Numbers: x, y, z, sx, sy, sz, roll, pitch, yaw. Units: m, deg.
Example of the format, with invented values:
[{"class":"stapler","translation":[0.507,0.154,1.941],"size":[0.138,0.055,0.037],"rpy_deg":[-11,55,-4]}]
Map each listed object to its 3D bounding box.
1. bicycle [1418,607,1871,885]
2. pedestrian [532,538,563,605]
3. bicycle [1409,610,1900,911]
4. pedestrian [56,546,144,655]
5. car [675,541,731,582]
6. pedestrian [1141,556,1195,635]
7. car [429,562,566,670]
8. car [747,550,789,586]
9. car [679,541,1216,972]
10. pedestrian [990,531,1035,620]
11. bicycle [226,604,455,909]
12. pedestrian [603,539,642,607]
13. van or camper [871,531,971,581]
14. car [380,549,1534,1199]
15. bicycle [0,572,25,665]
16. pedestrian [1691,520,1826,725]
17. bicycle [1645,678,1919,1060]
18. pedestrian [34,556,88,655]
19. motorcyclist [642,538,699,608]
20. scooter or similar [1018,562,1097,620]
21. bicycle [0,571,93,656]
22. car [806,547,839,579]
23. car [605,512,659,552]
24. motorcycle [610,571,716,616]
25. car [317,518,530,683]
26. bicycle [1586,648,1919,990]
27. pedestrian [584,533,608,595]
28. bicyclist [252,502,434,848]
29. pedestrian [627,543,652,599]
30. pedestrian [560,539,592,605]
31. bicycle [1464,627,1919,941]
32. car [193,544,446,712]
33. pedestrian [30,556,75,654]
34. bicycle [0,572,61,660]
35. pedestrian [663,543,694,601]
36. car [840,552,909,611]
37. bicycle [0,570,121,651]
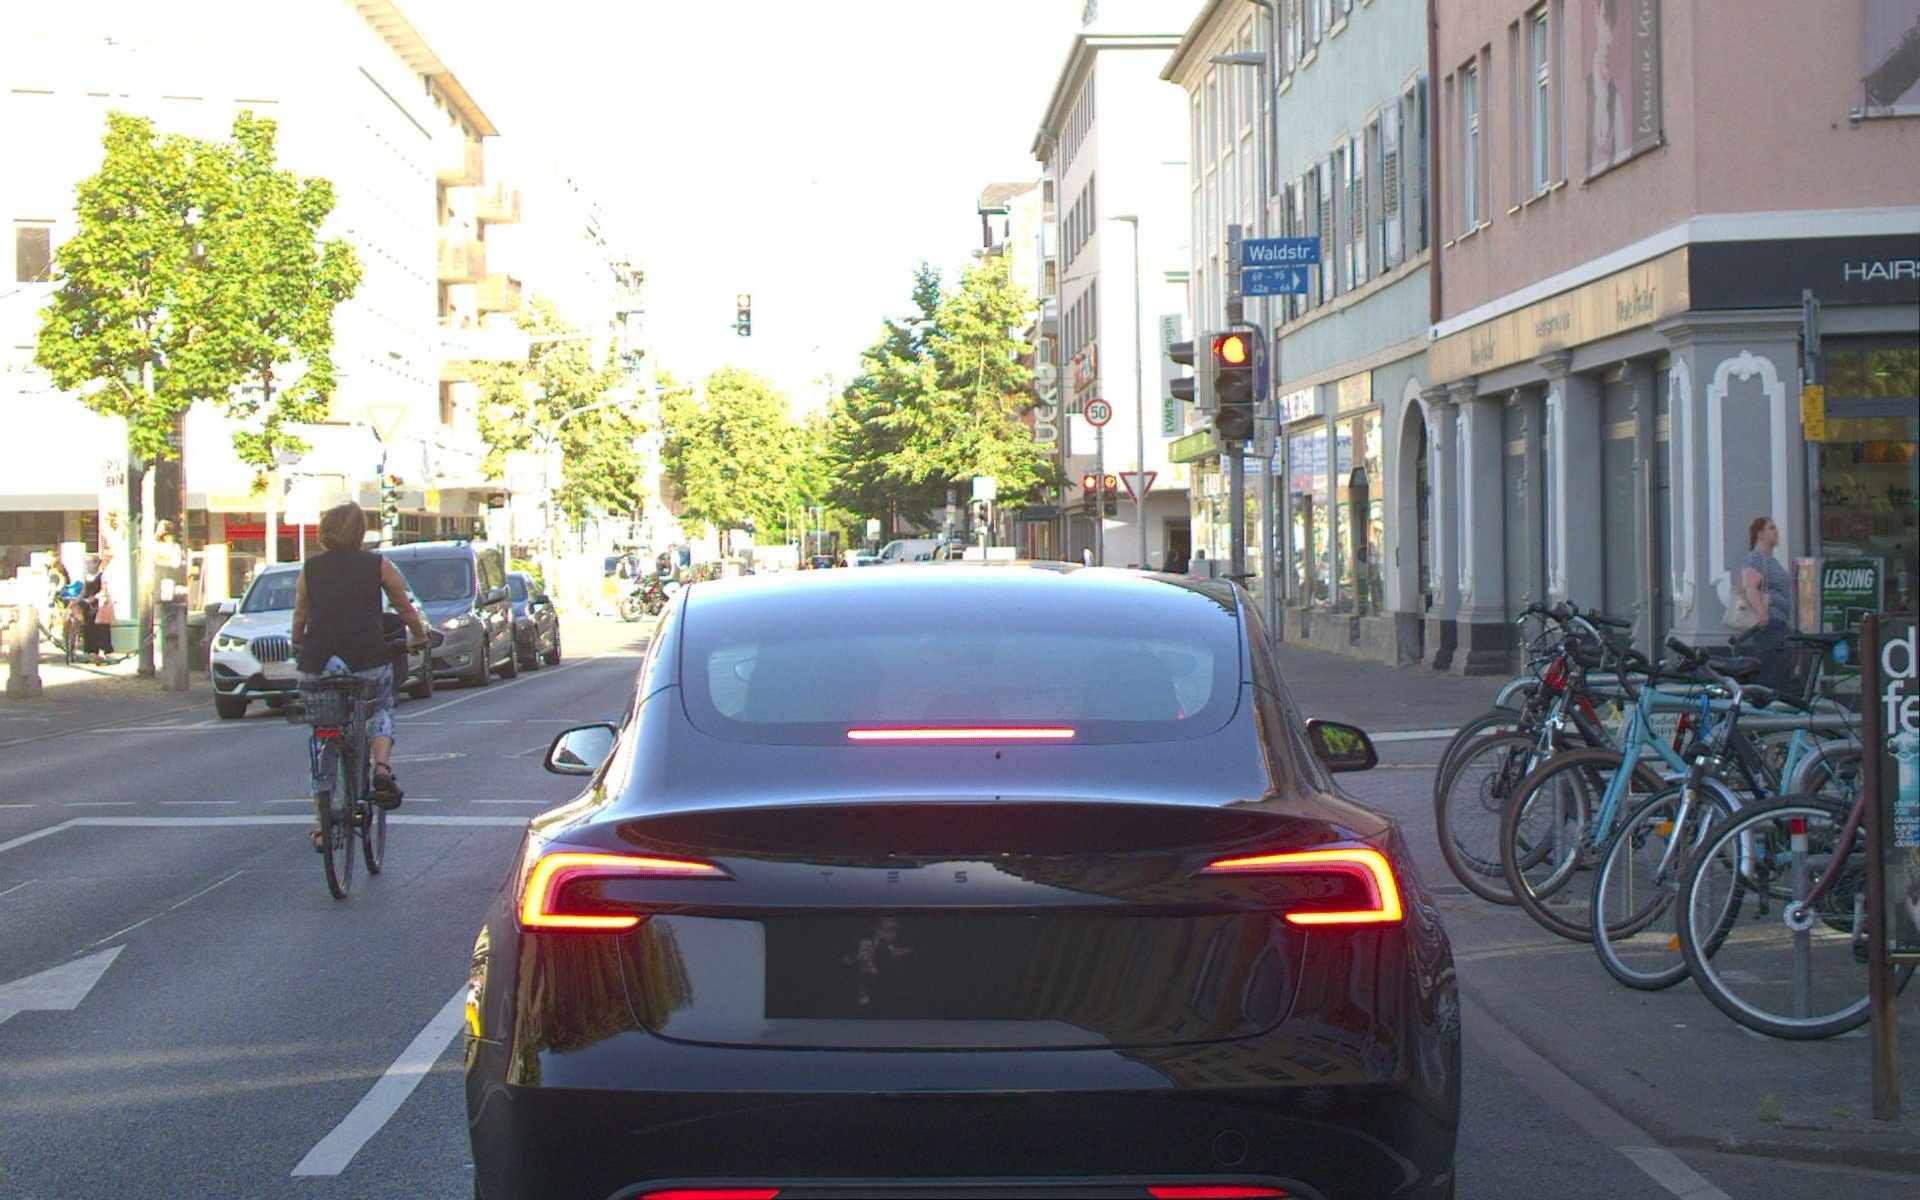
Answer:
[{"class":"bicycle","translation":[2.914,0.612,14.742],"size":[1.813,1.148,0.653],"rpy_deg":[0,1,1]},{"class":"pedestrian","translation":[-11.627,-0.808,96.881],"size":[0.732,1.861,0.791],"rpy_deg":[1,0,-17]},{"class":"bicycle","translation":[2.723,0.621,13.607],"size":[1.813,1.148,0.653],"rpy_deg":[0,1,1]},{"class":"pedestrian","translation":[-12.930,0.006,51.711],"size":[1.092,1.606,1.267],"rpy_deg":[1,0,-6]},{"class":"car","translation":[-12.402,-1.873,166.457],"size":[2.414,1.963,4.678],"rpy_deg":[0,1,-1]},{"class":"pedestrian","translation":[4.285,-0.095,70.840],"size":[0.806,1.604,0.709],"rpy_deg":[0,1,-37]},{"class":"car","translation":[-6.662,0.205,49.802],"size":[1.461,1.425,3.606],"rpy_deg":[-4,1,-1]},{"class":"car","translation":[-10.450,-1.745,187.139],"size":[2.132,1.963,4.134],"rpy_deg":[0,1,-1]},{"class":"car","translation":[-0.068,0.524,14.204],"size":[1.850,1.476,4.452],"rpy_deg":[1,1,-1]},{"class":"pedestrian","translation":[1.043,-0.483,68.105],"size":[0.658,1.754,0.654],"rpy_deg":[1,0,-24]},{"class":"bicycle","translation":[-2.740,0.657,15.390],"size":[0.628,1.219,2.001],"rpy_deg":[1,1,1]},{"class":"pedestrian","translation":[-9.281,-0.753,94.664],"size":[0.734,1.861,0.789],"rpy_deg":[1,0,28]},{"class":"van or camper","translation":[-1.908,-2.137,167.554],"size":[4.850,2.430,1.851],"rpy_deg":[0,1,-1]},{"class":"car","translation":[-0.032,0.629,7.779],"size":[1.850,1.442,4.452],"rpy_deg":[1,1,-1]},{"class":"bicycle","translation":[-14.495,0.236,47.552],"size":[2.875,1.266,0.943],"rpy_deg":[1,0,-3]},{"class":"pedestrian","translation":[6.147,0.162,26.457],"size":[0.723,1.544,0.790],"rpy_deg":[1,1,38]},{"class":"bicycle","translation":[3.018,0.760,10.056],"size":[1.882,1.040,0.653],"rpy_deg":[-1,1,1]},{"class":"pedestrian","translation":[-16.003,0.098,61.190],"size":[0.844,1.754,0.707],"rpy_deg":[1,0,-19]},{"class":"motorcyclist","translation":[-6.891,-0.646,81.819],"size":[1.109,1.627,0.776],"rpy_deg":[1,0,-26]},{"class":"scooter or similar","translation":[1.940,-0.173,68.550],"size":[1.333,1.131,0.810],"rpy_deg":[1,0,-24]},{"class":"bicycle","translation":[-14.542,0.191,52.146],"size":[2.542,1.247,0.943],"rpy_deg":[1,0,-3]},{"class":"car","translation":[-7.979,-2.130,199.811],"size":[1.892,1.807,3.925],"rpy_deg":[1,1,-2]},{"class":"car","translation":[-17.133,-3.539,179.647],"size":[2.275,2.007,4.717],"rpy_deg":[1,1,1]},{"class":"motorcycle","translation":[-7.063,-0.156,81.733],"size":[2.377,1.032,0.783],"rpy_deg":[1,1,-25]},{"class":"car","translation":[-6.581,-0.035,42.669],"size":[1.945,1.940,4.820],"rpy_deg":[0,1,-1]},{"class":"bicycle","translation":[2.991,0.693,11.127],"size":[1.813,1.056,0.653],"rpy_deg":[0,1,1]},{"class":"pedestrian","translation":[-11.004,-1.075,103.884],"size":[0.695,1.861,0.659],"rpy_deg":[1,0,-5]},{"class":"bicyclist","translation":[-2.730,0.317,15.278],"size":[0.606,1.479,0.958],"rpy_deg":[1,0,1]},{"class":"pedestrian","translation":[-10.700,-0.975,114.741],"size":[0.694,1.861,0.910],"rpy_deg":[1,0,-12]},{"class":"pedestrian","translation":[-10.874,-0.802,97.301],"size":[0.732,1.861,0.791],"rpy_deg":[1,0,-17]},{"class":"bicycle","translation":[2.792,0.657,12.534],"size":[1.813,1.098,0.653],"rpy_deg":[0,1,1]},{"class":"car","translation":[-6.696,0.255,36.345],"size":[1.825,1.559,4.301],"rpy_deg":[-4,1,-1]},{"class":"pedestrian","translation":[-16.336,0.086,61.887],"size":[0.658,1.754,0.654],"rpy_deg":[1,0,-26]},{"class":"bicycle","translation":[-14.497,0.218,49.870],"size":[2.662,1.255,0.943],"rpy_deg":[1,0,-3]},{"class":"pedestrian","translation":[-9.145,-0.922,111.591],"size":[0.774,1.861,1.009],"rpy_deg":[1,0,-19]},{"class":"car","translation":[-2.668,-0.579,106.169],"size":[2.035,1.782,4.007],"rpy_deg":[0,1,-3]},{"class":"bicycle","translation":[-14.703,0.164,54.570],"size":[2.542,1.247,0.943],"rpy_deg":[1,0,-3]}]
